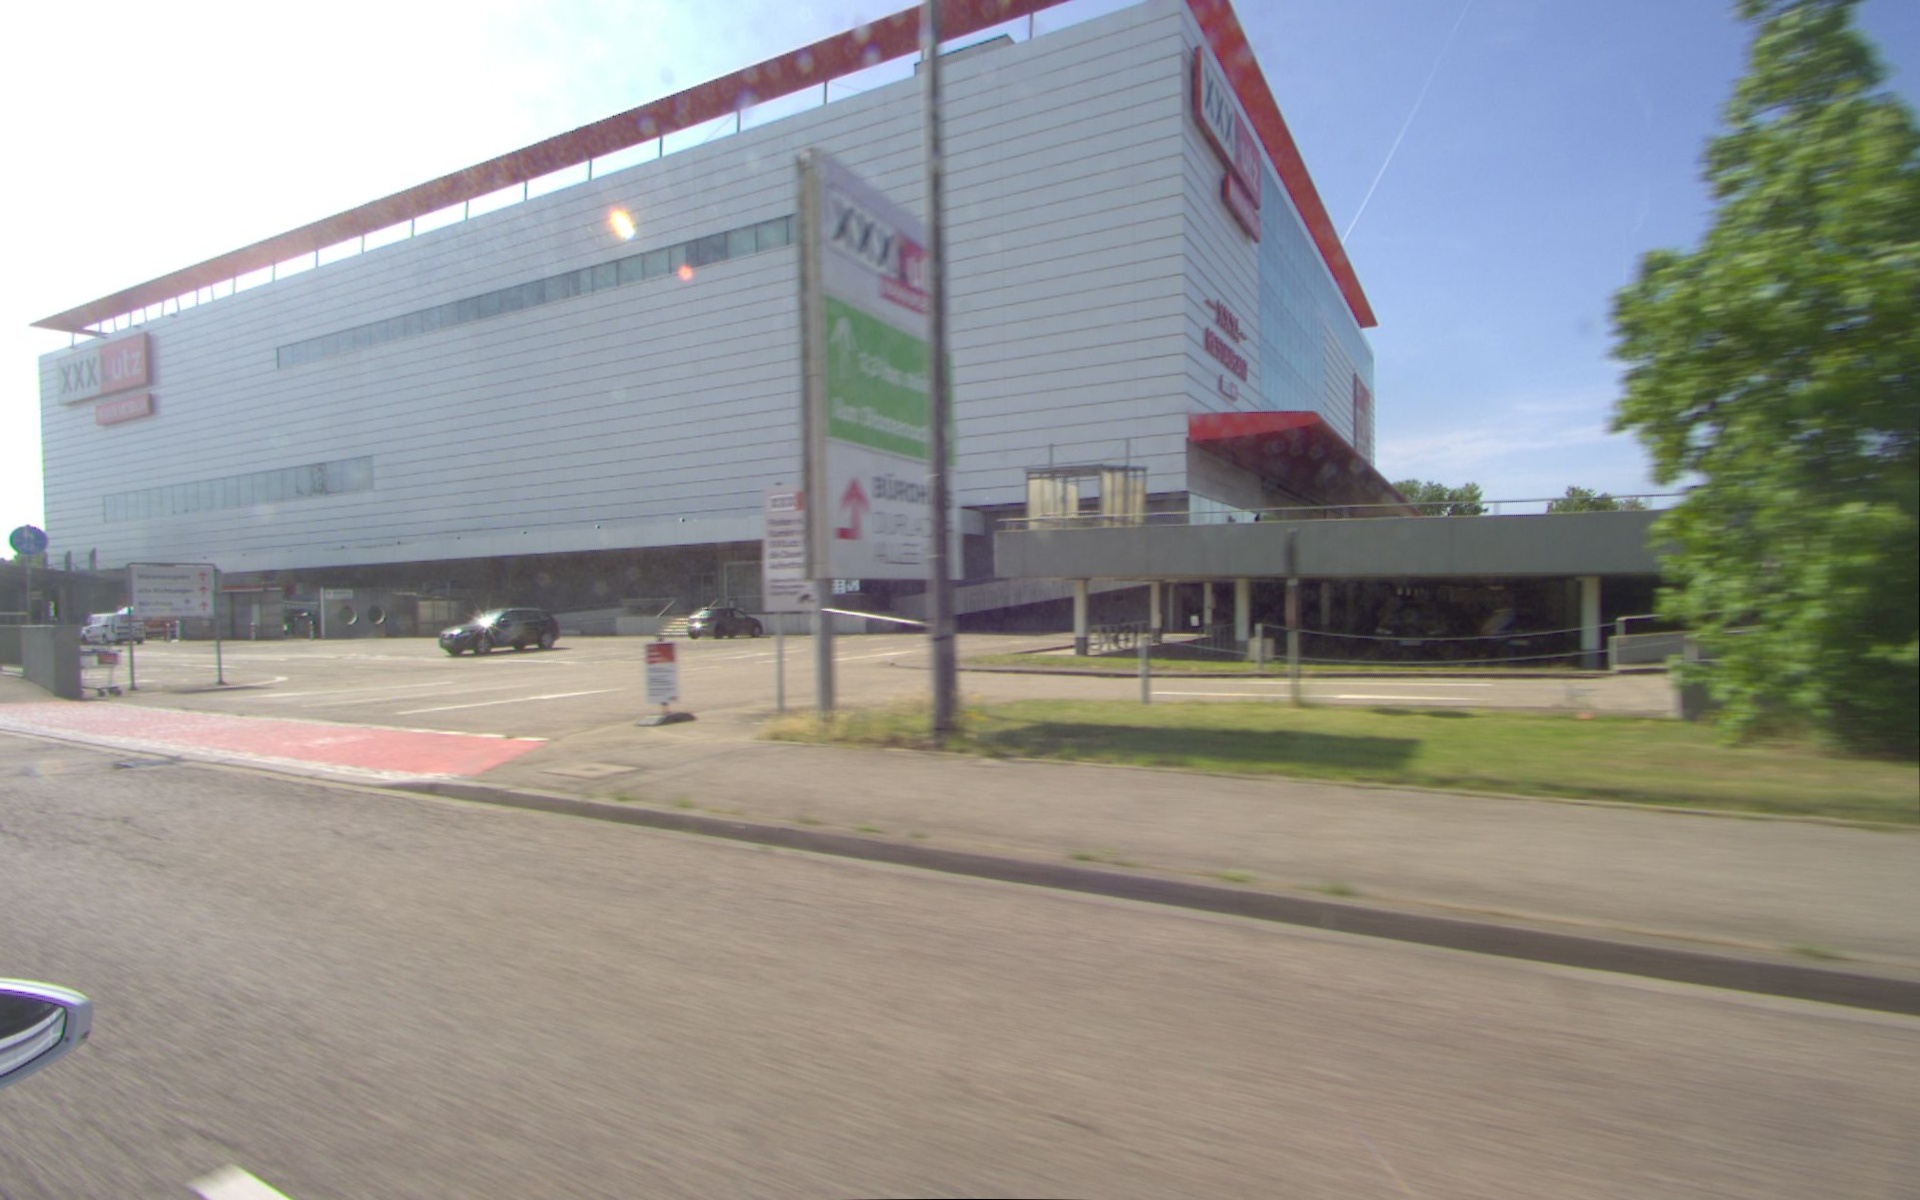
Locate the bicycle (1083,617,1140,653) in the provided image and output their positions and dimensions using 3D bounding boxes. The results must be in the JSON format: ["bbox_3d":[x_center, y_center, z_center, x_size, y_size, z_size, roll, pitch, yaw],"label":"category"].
[{"bbox_3d":[4.718,1.067,31.172,1.683,1.074,0.510,0,1,32],"label":"bicycle"}]

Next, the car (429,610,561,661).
[{"bbox_3d":[-17.870,1.317,38.727,1.809,1.636,4.418,0,2,27],"label":"car"}]

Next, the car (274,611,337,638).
[{"bbox_3d":[-39.566,1.463,60.521,4.034,1.529,1.670,0,0,32],"label":"car"}]

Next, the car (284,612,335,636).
[{"bbox_3d":[-41.876,1.537,64.442,3.207,1.487,1.508,0,0,32],"label":"car"}]

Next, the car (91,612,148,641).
[{"bbox_3d":[-54.208,1.690,64.572,4.034,1.775,1.670,0,0,32],"label":"car"}]

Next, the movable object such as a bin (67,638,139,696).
[{"bbox_3d":[-17.463,1.344,20.403,1.165,1.128,0.808,-1,0,32],"label":"movable object such as a bin"}]

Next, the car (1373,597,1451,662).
[{"bbox_3d":[12.558,0.796,27.683,1.724,1.648,4.149,-1,-1,28],"label":"car"}]

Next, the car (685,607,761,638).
[{"bbox_3d":[-11.071,1.055,46.960,1.578,1.394,3.515,0,-1,27],"label":"car"}]

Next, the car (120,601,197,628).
[{"bbox_3d":[-59.901,1.052,74.904,1.750,1.954,4.182,0,0,30],"label":"car"}]

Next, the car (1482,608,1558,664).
[{"bbox_3d":[15.041,0.945,27.050,1.662,1.405,3.870,-1,-1,27],"label":"car"}]
